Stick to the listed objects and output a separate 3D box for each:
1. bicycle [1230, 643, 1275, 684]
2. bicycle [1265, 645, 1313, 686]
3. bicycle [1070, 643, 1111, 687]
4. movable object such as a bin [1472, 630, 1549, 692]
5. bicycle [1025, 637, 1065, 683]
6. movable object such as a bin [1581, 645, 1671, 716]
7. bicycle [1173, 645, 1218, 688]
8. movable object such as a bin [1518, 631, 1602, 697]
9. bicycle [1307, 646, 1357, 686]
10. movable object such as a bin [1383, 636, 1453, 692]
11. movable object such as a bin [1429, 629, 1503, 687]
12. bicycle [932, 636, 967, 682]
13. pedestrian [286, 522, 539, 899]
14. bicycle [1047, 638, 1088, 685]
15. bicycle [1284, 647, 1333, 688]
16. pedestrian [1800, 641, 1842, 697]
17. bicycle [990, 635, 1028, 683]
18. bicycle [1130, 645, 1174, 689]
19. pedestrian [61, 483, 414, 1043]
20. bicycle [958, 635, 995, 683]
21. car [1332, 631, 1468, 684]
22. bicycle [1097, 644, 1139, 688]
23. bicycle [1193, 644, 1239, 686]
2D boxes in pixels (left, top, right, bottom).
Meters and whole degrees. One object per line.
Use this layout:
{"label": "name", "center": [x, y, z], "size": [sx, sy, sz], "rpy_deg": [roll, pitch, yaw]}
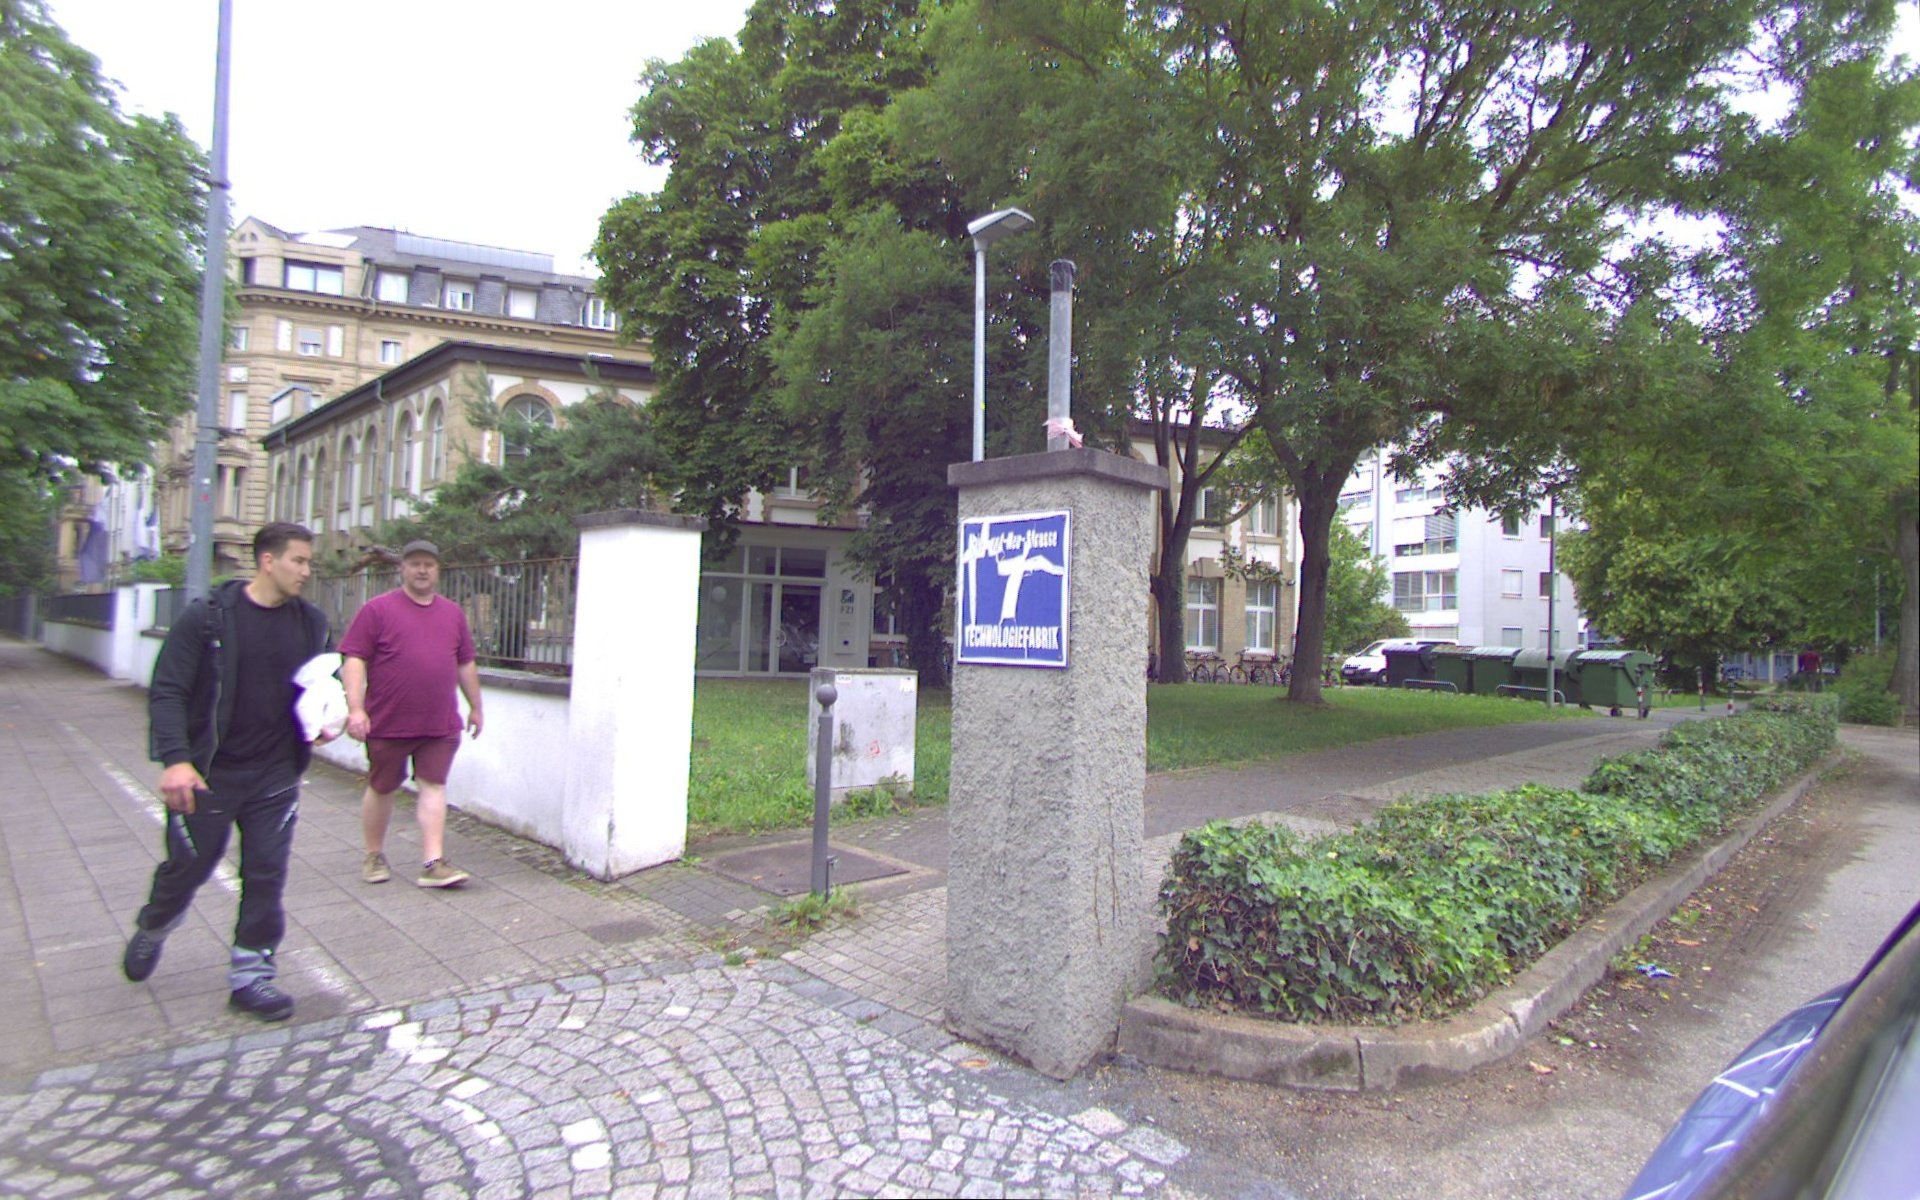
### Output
{"label": "bicycle", "center": [8.558, 1.857, 29.684], "size": [0.451, 1.129, 1.747], "rpy_deg": [2, -2, -14]}
{"label": "bicycle", "center": [9.776, 1.943, 30.106], "size": [0.451, 1.129, 1.748], "rpy_deg": [2, -2, -16]}
{"label": "bicycle", "center": [3.582, 1.766, 27.922], "size": [0.451, 1.129, 1.748], "rpy_deg": [2, -2, -16]}
{"label": "movable object such as a bin", "center": [13.647, 1.496, 25.114], "size": [1.086, 1.469, 1.296], "rpy_deg": [2, -2, -24]}
{"label": "bicycle", "center": [2.305, 1.618, 27.577], "size": [0.451, 1.129, 1.748], "rpy_deg": [2, -1, -16]}
{"label": "movable object such as a bin", "center": [14.597, 1.752, 22.217], "size": [1.050, 1.453, 1.277], "rpy_deg": [2, -2, -9]}
{"label": "bicycle", "center": [6.738, 1.893, 29.049], "size": [0.451, 1.129, 1.748], "rpy_deg": [2, -2, -16]}
{"label": "movable object such as a bin", "center": [13.968, 1.474, 23.605], "size": [1.086, 1.469, 1.288], "rpy_deg": [2, -2, -12]}
{"label": "bicycle", "center": [11.179, 1.969, 30.482], "size": [0.451, 1.129, 1.748], "rpy_deg": [2, -2, -17]}
{"label": "movable object such as a bin", "center": [12.623, 1.747, 27.929], "size": [1.085, 1.469, 1.365], "rpy_deg": [2, -2, -23]}
{"label": "movable object such as a bin", "center": [13.229, 1.511, 26.488], "size": [1.086, 1.469, 1.329], "rpy_deg": [2, -2, -24]}
{"label": "bicycle", "center": [-0.285, 1.534, 26.693], "size": [0.451, 1.129, 1.748], "rpy_deg": [2, -2, -16]}
{"label": "pedestrian", "center": [-2.862, 0.523, 5.302], "size": [0.950, 1.741, 0.797], "rpy_deg": [0, -3, 38]}
{"label": "bicycle", "center": [2.940, 1.670, 27.774], "size": [0.451, 1.128, 1.748], "rpy_deg": [2, 0, -16]}
{"label": "bicycle", "center": [10.421, 1.997, 30.285], "size": [0.451, 1.129, 1.748], "rpy_deg": [2, -2, -16]}
{"label": "pedestrian", "center": [33.081, 2.649, 38.886], "size": [1.176, 2.091, 0.796], "rpy_deg": [3, -2, -22]}
{"label": "bicycle", "center": [1.308, 1.581, 27.228], "size": [0.451, 1.128, 1.749], "rpy_deg": [2, 1, -16]}
{"label": "bicycle", "center": [5.391, 1.859, 28.461], "size": [0.451, 1.129, 1.748], "rpy_deg": [2, -2, -16]}
{"label": "pedestrian", "center": [-2.684, 0.513, 3.771], "size": [0.950, 1.740, 0.792], "rpy_deg": [0, -2, 38]}
{"label": "bicycle", "center": [0.429, 1.547, 26.934], "size": [0.451, 1.129, 1.748], "rpy_deg": [2, 0, -16]}
{"label": "car", "center": [17.008, 2.254, 39.155], "size": [4.672, 1.898, 1.904], "rpy_deg": [2, -4, -16]}
{"label": "bicycle", "center": [4.396, 1.824, 28.214], "size": [0.451, 1.129, 1.748], "rpy_deg": [2, -2, -16]}
{"label": "bicycle", "center": [7.393, 1.861, 29.267], "size": [0.451, 1.129, 1.748], "rpy_deg": [2, -2, -16]}
